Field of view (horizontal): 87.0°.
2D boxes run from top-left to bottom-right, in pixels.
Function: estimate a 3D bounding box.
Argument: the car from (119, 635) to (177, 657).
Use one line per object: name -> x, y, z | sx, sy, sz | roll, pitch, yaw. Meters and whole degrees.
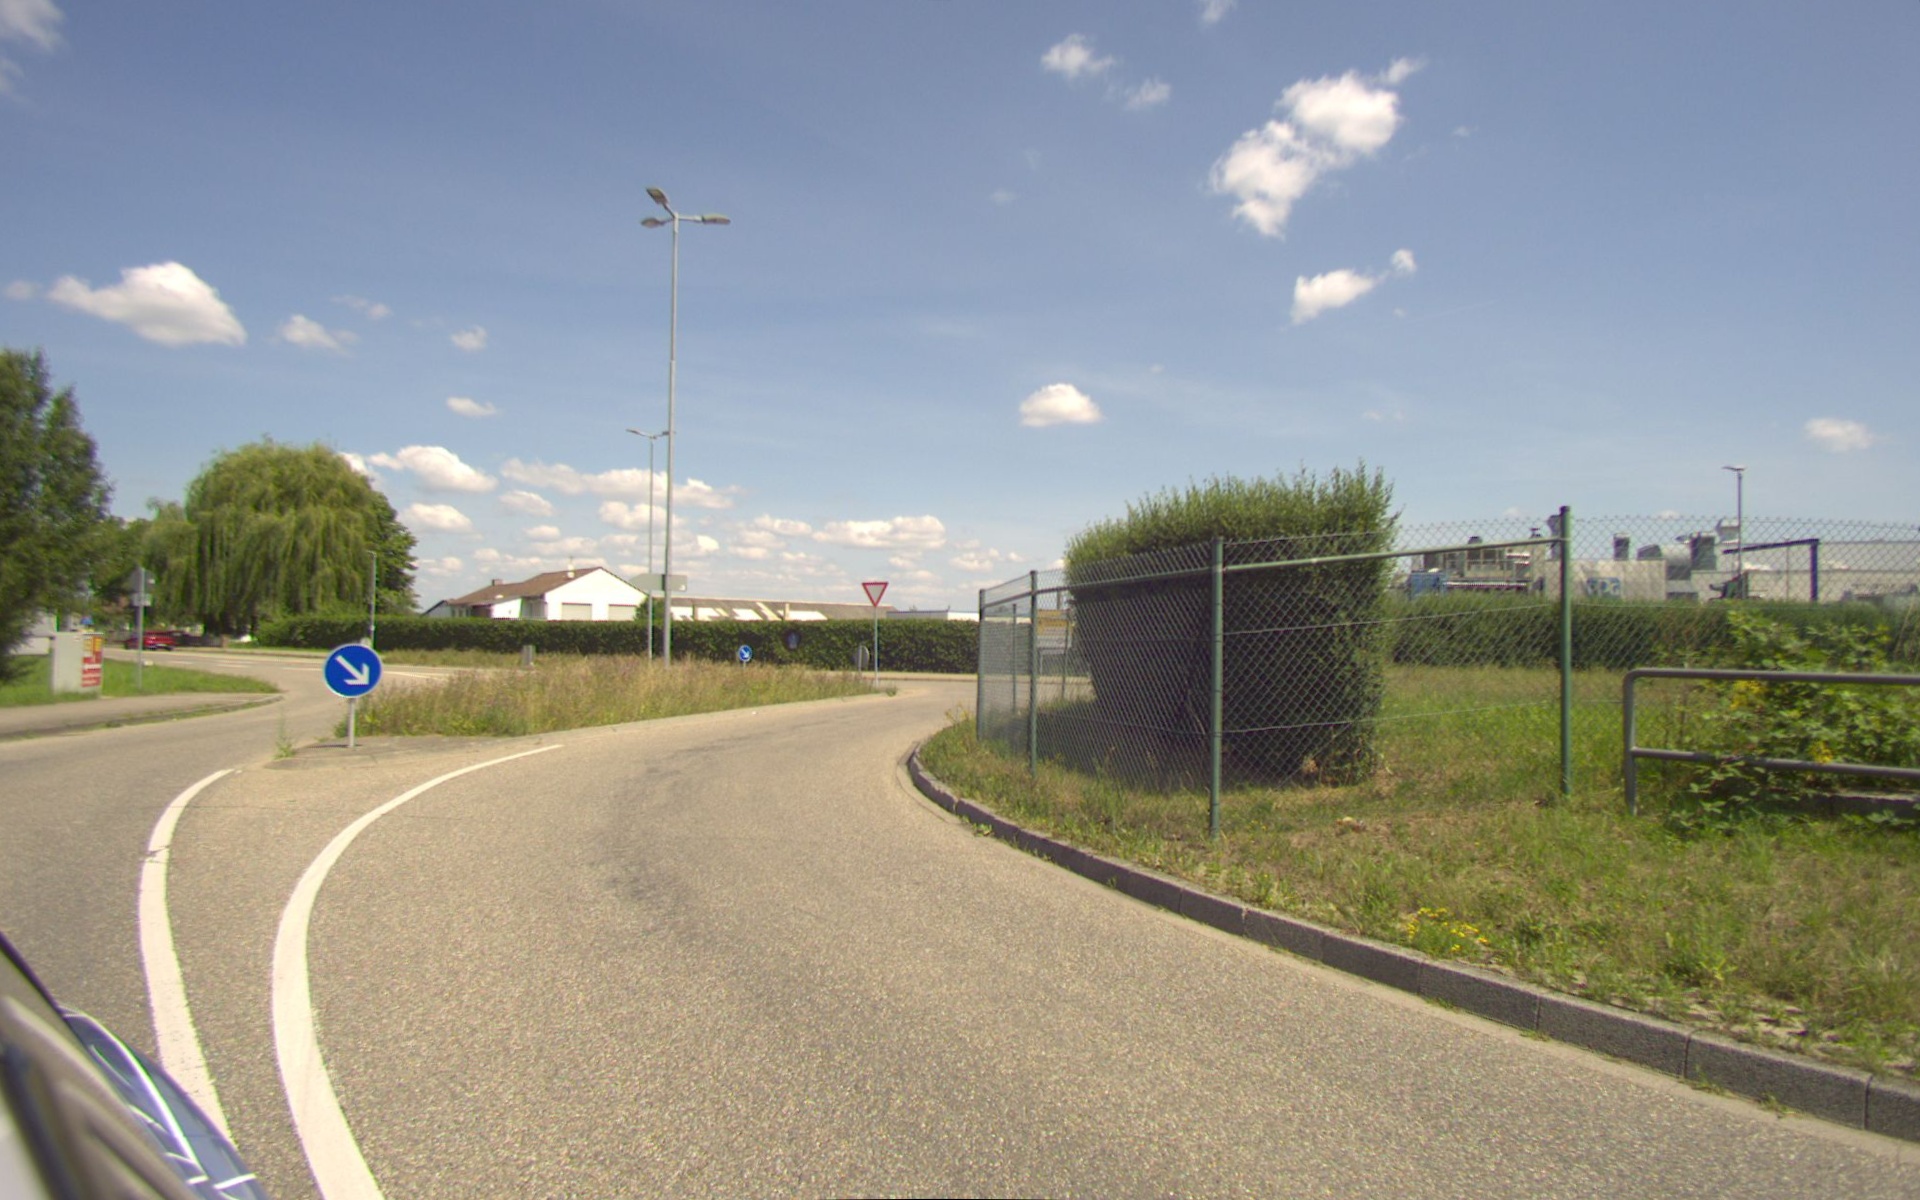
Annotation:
car -> -56.745, 3.230, 70.713 | 4.374, 1.475, 1.865 | -1, -4, 33
